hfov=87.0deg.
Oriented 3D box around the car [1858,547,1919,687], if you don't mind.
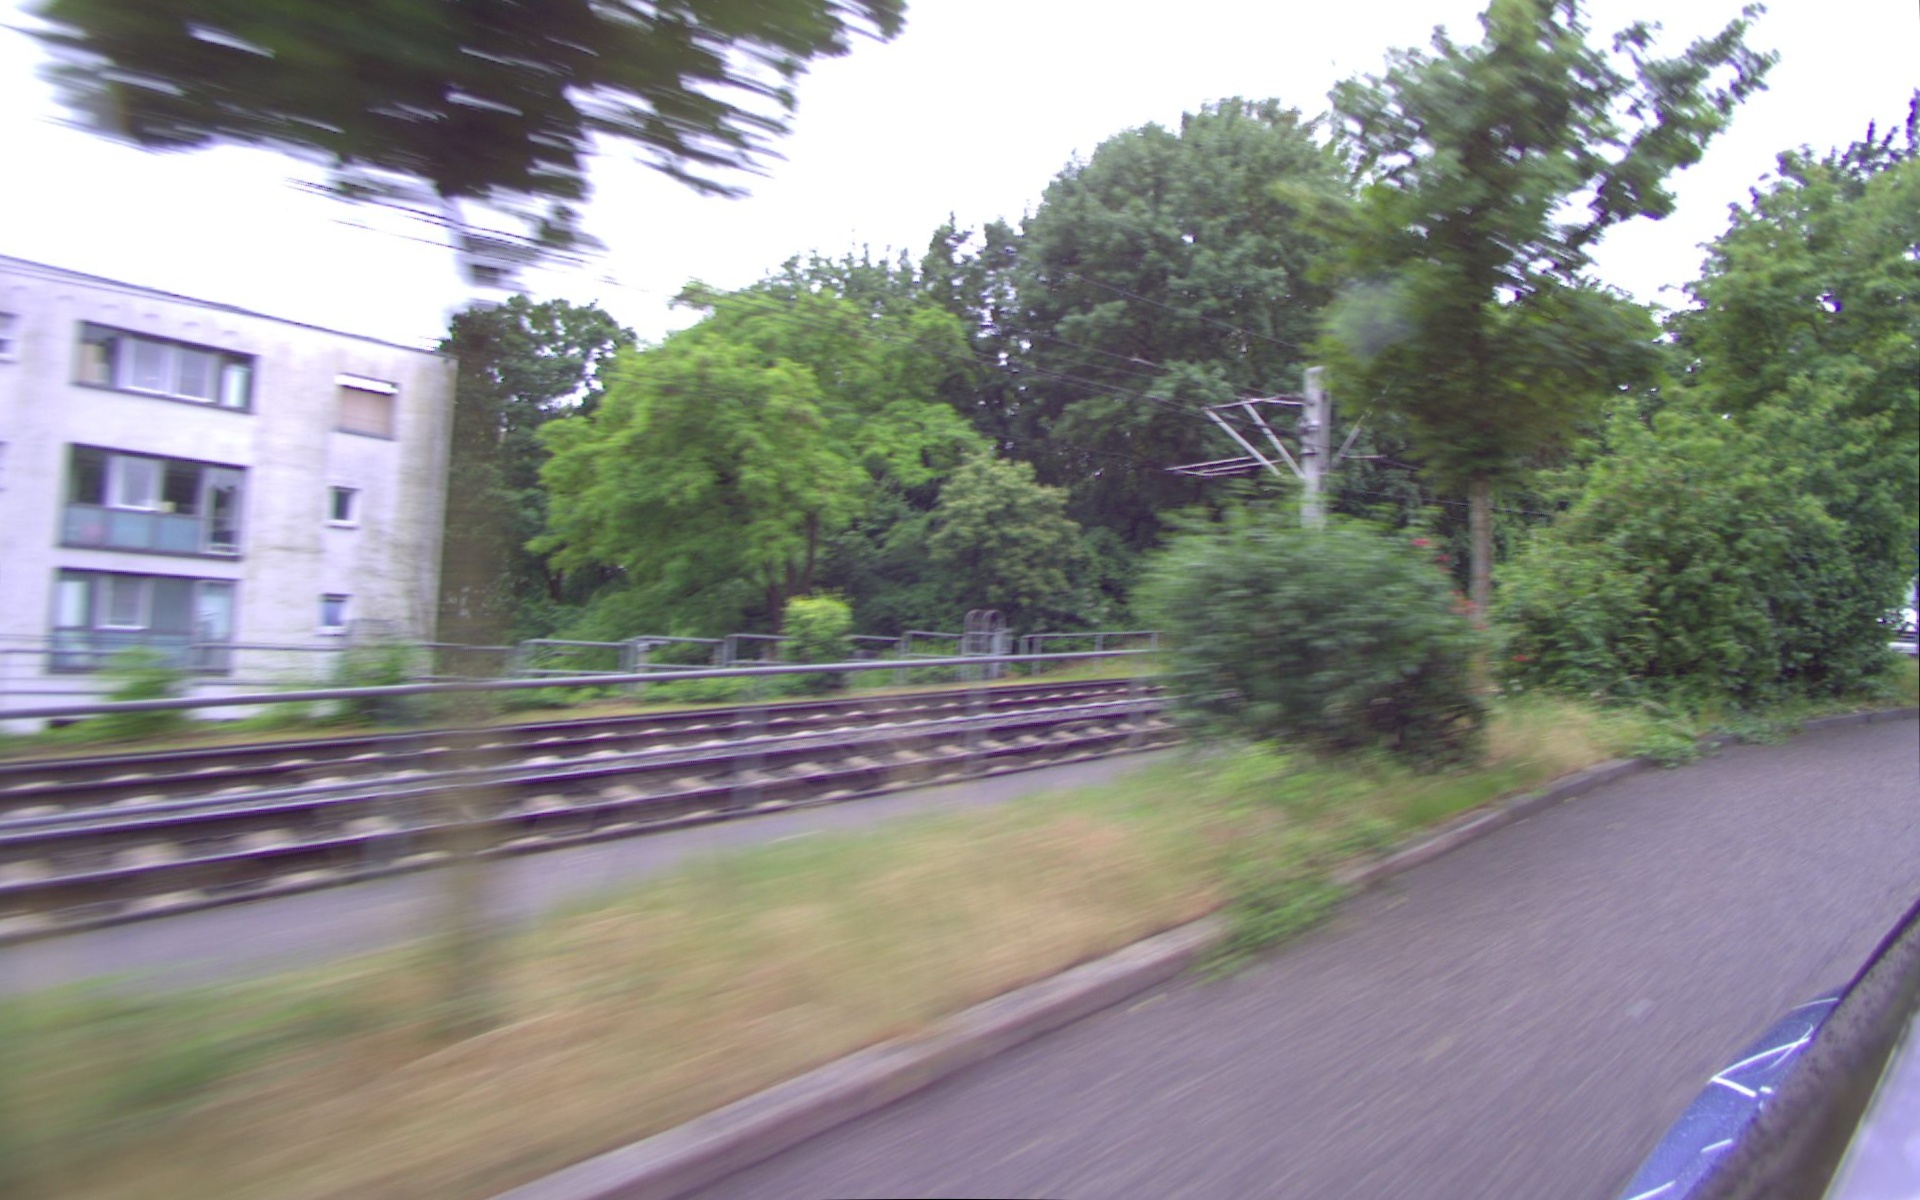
[{"bbox_3d":[16.246,0.273,15.458,4.593,2.039,1.887,1,1,-22],"label":"car"}]
